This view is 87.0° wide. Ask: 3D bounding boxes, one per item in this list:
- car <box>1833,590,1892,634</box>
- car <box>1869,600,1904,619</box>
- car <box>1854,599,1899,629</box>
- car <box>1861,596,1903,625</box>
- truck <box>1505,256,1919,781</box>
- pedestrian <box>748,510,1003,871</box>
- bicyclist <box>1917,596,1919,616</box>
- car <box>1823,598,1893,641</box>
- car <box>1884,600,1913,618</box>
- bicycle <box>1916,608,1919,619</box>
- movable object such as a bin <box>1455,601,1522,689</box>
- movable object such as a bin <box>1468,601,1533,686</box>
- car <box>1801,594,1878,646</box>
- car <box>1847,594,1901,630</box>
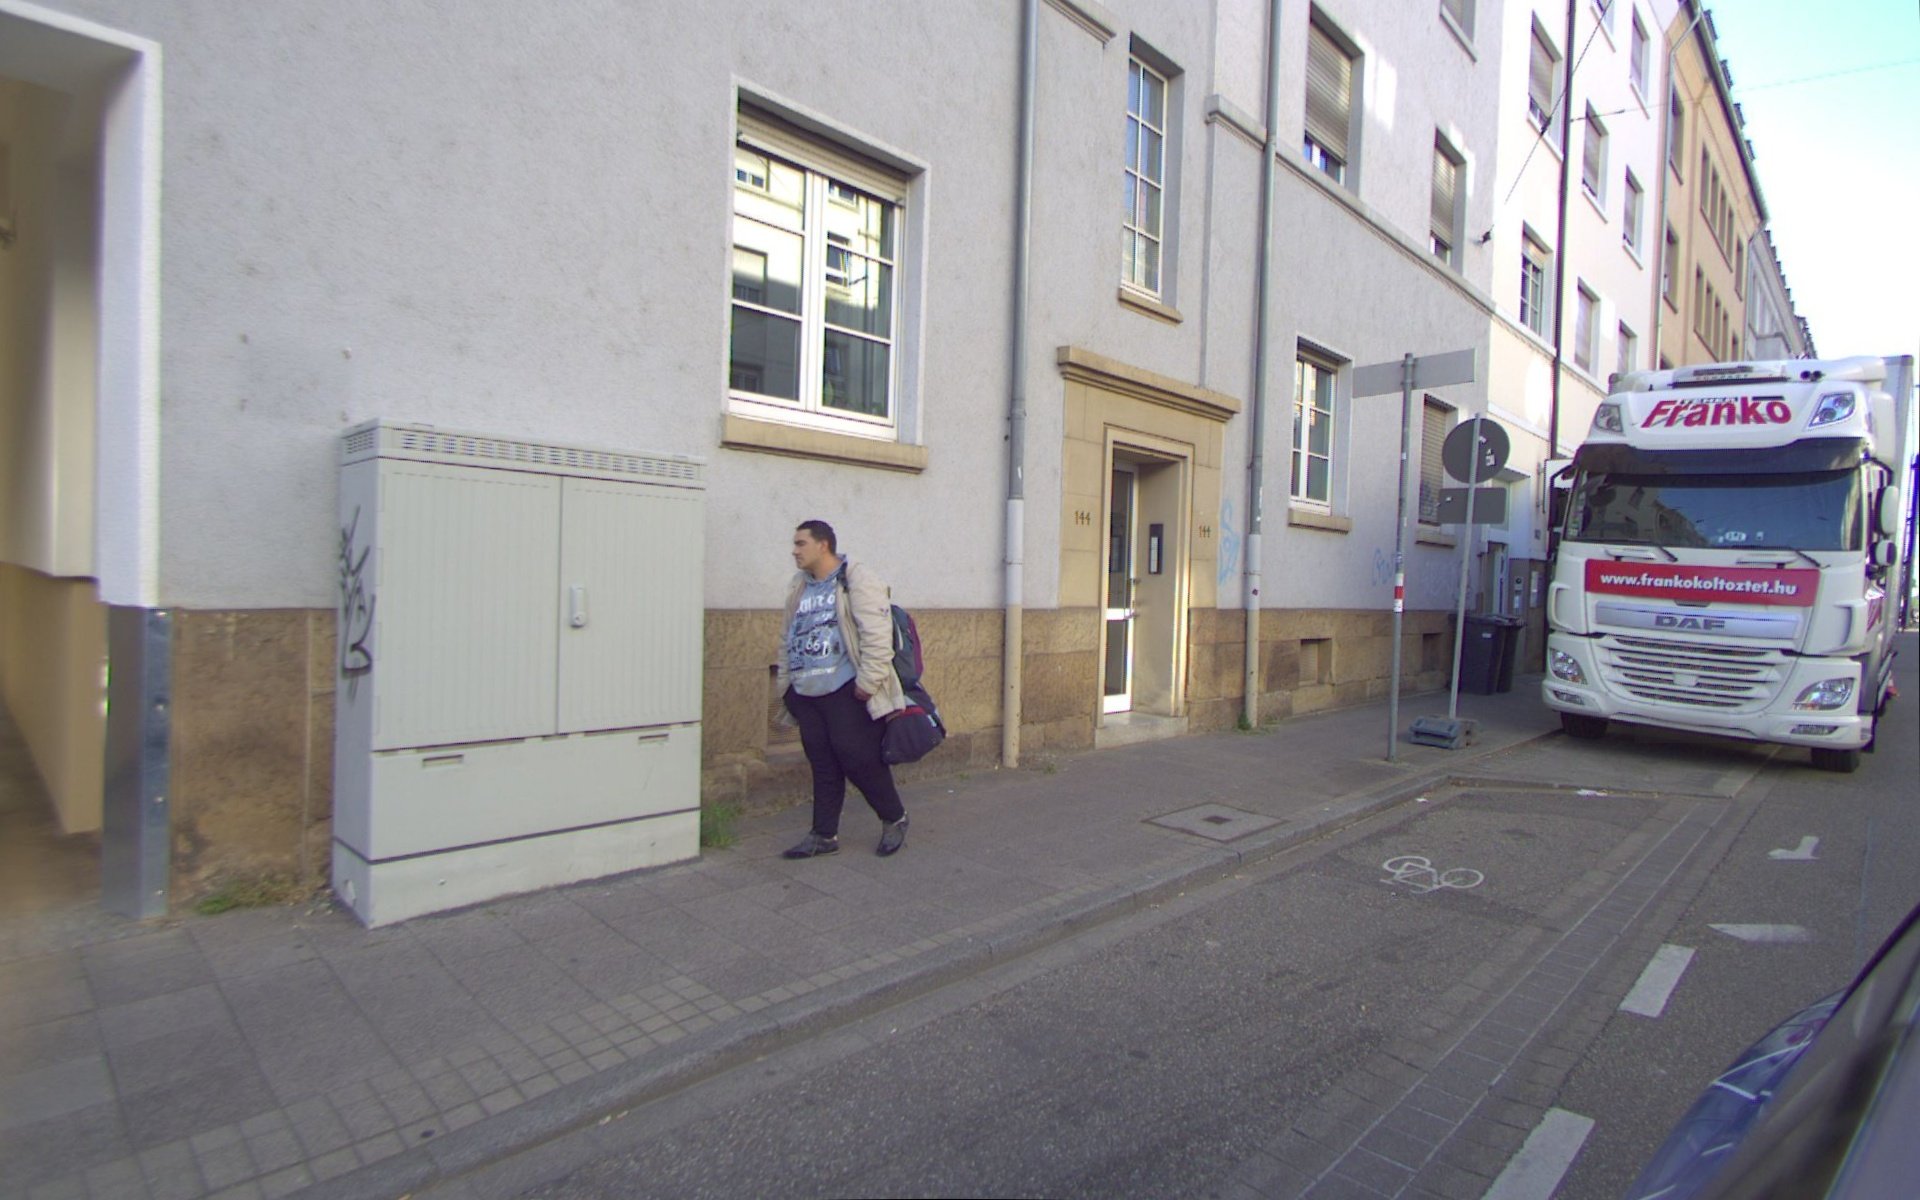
[{"bbox_3d":[39.064,0.502,43.781,1.709,1.714,4.517,4,3,43],"label":"car"},{"bbox_3d":[75.051,0.768,81.956,1.995,1.437,3.667,4,3,44],"label":"car"},{"bbox_3d":[50.989,0.753,56.284,1.700,1.523,3.801,3,2,44],"label":"car"},{"bbox_3d":[54.553,0.588,59.847,1.699,1.610,3.898,3,2,44],"label":"car"},{"bbox_3d":[10.541,-0.682,13.097,2.862,4.123,11.587,3,2,45],"label":"truck"},{"bbox_3d":[-0.417,0.371,4.959,0.855,1.553,0.826,1,3,-45],"label":"pedestrian"},{"bbox_3d":[73.717,0.476,77.357,0.802,1.508,0.743,1,1,-44],"label":"bicyclist"},{"bbox_3d":[34.836,0.712,39.242,4.137,1.470,1.701,0,3,-45],"label":"car"},{"bbox_3d":[95.631,0.896,103.108,1.995,1.660,3.936,4,2,44],"label":"car"},{"bbox_3d":[73.609,1.029,77.294,1.854,0.866,0.743,0,2,-44],"label":"bicycle"},{"bbox_3d":[7.099,0.587,13.601,0.658,1.118,0.533,2,1,42],"label":"movable object such as a bin"},{"bbox_3d":[7.491,0.584,14.033,0.658,1.118,0.533,2,1,42],"label":"movable object such as a bin"},{"bbox_3d":[28.141,0.610,32.354,1.610,1.481,3.423,5,3,44],"label":"car"},{"bbox_3d":[47.171,0.607,52.219,4.118,1.719,1.701,0,3,-44],"label":"car"}]
